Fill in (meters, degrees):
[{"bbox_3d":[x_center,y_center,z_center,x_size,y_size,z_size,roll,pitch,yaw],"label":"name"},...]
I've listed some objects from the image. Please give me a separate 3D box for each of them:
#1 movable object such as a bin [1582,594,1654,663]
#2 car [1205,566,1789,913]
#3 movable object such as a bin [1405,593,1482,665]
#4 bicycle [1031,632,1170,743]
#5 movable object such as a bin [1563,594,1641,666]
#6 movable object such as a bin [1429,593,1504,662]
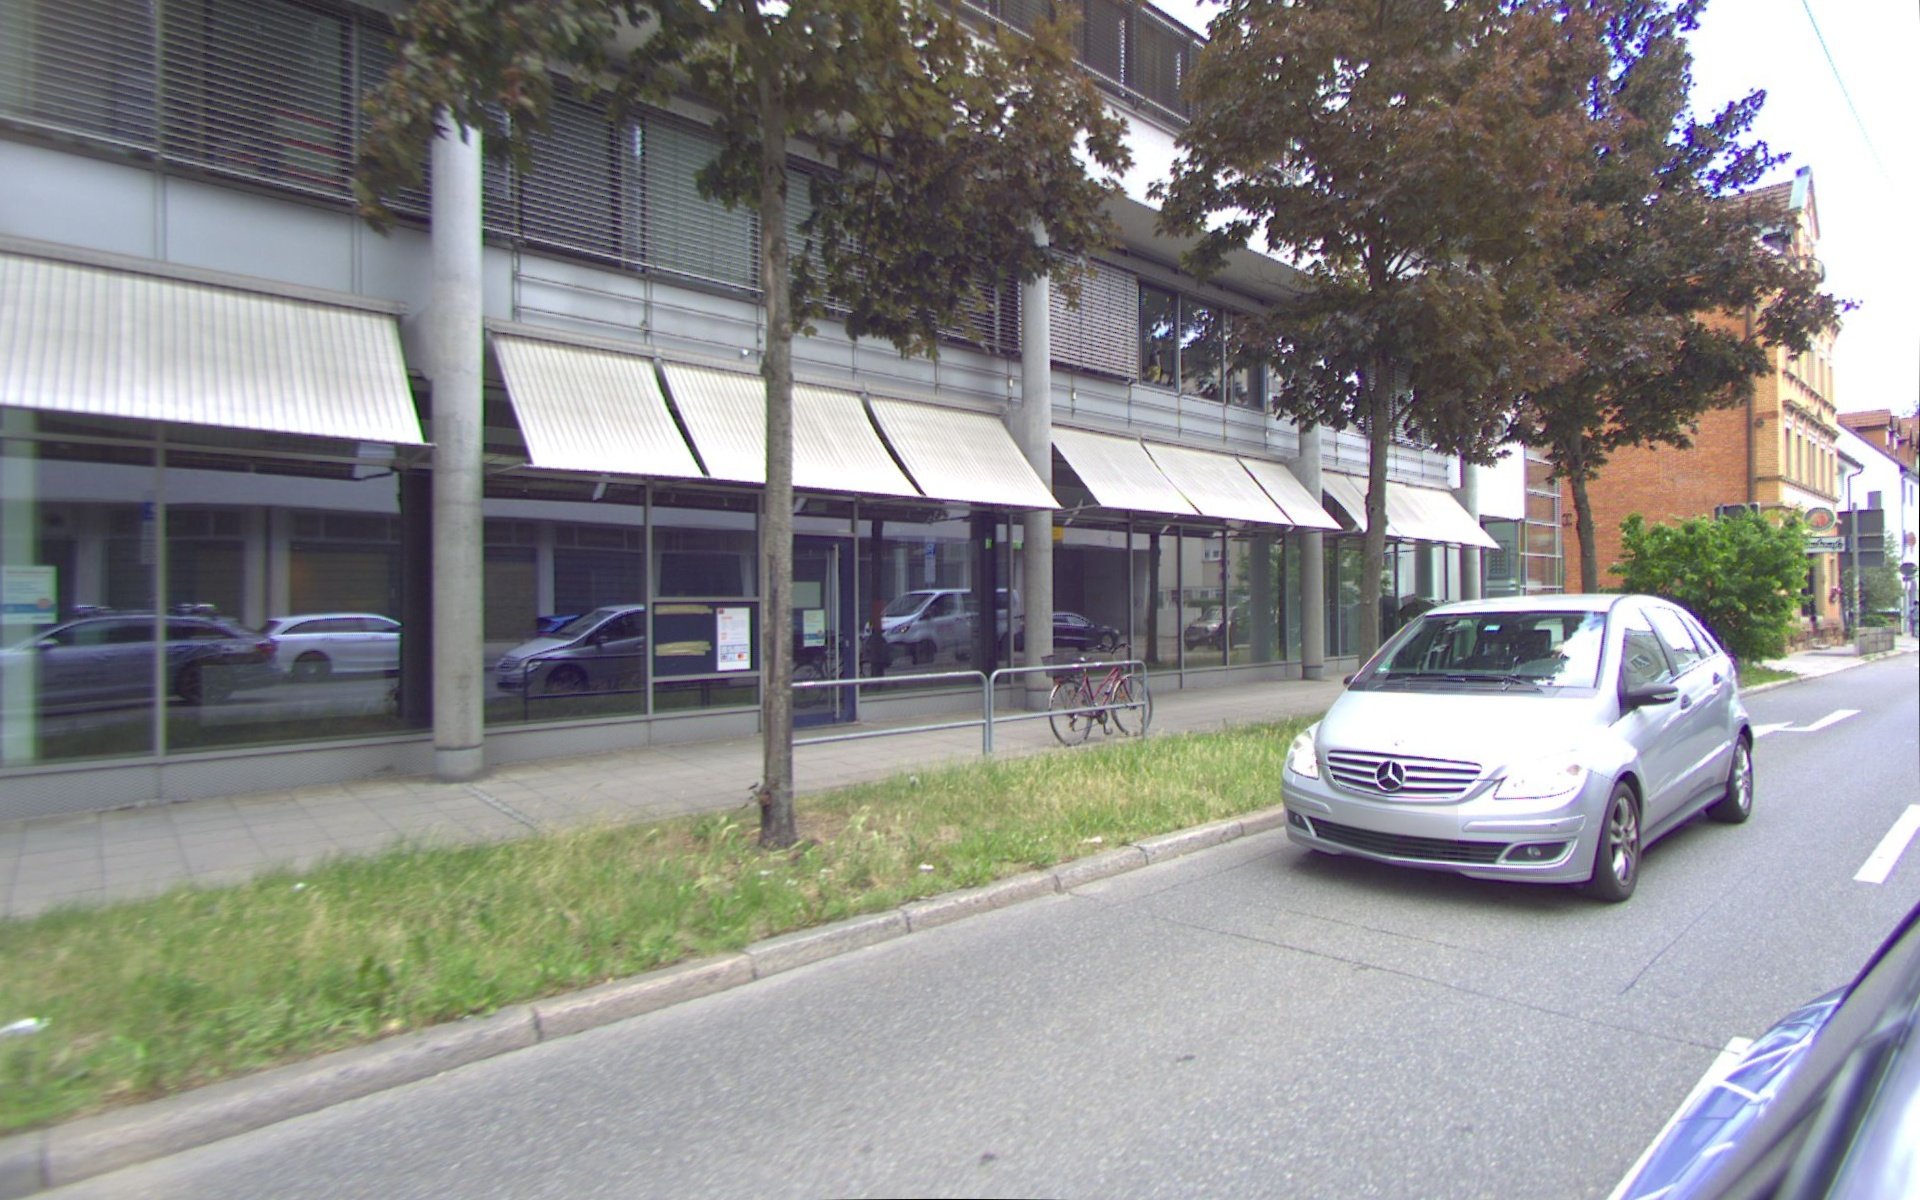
[{"bbox_3d":[15.081,0.626,23.191,1.310,1.484,1.099,0,1,-43],"label":"movable object such as a bin"},{"bbox_3d":[3.834,0.663,6.836,4.491,1.566,1.996,0,-3,-42],"label":"car"},{"bbox_3d":[10.514,0.603,21.996,1.310,1.484,1.099,0,1,-43],"label":"movable object such as a bin"},{"bbox_3d":[1.611,0.936,11.352,1.993,1.100,0.361,0,-1,-44],"label":"bicycle"},{"bbox_3d":[14.115,0.633,22.248,1.389,1.484,1.129,0,1,-43],"label":"movable object such as a bin"},{"bbox_3d":[11.483,0.593,22.920,1.310,1.484,1.123,0,1,-43],"label":"movable object such as a bin"}]
